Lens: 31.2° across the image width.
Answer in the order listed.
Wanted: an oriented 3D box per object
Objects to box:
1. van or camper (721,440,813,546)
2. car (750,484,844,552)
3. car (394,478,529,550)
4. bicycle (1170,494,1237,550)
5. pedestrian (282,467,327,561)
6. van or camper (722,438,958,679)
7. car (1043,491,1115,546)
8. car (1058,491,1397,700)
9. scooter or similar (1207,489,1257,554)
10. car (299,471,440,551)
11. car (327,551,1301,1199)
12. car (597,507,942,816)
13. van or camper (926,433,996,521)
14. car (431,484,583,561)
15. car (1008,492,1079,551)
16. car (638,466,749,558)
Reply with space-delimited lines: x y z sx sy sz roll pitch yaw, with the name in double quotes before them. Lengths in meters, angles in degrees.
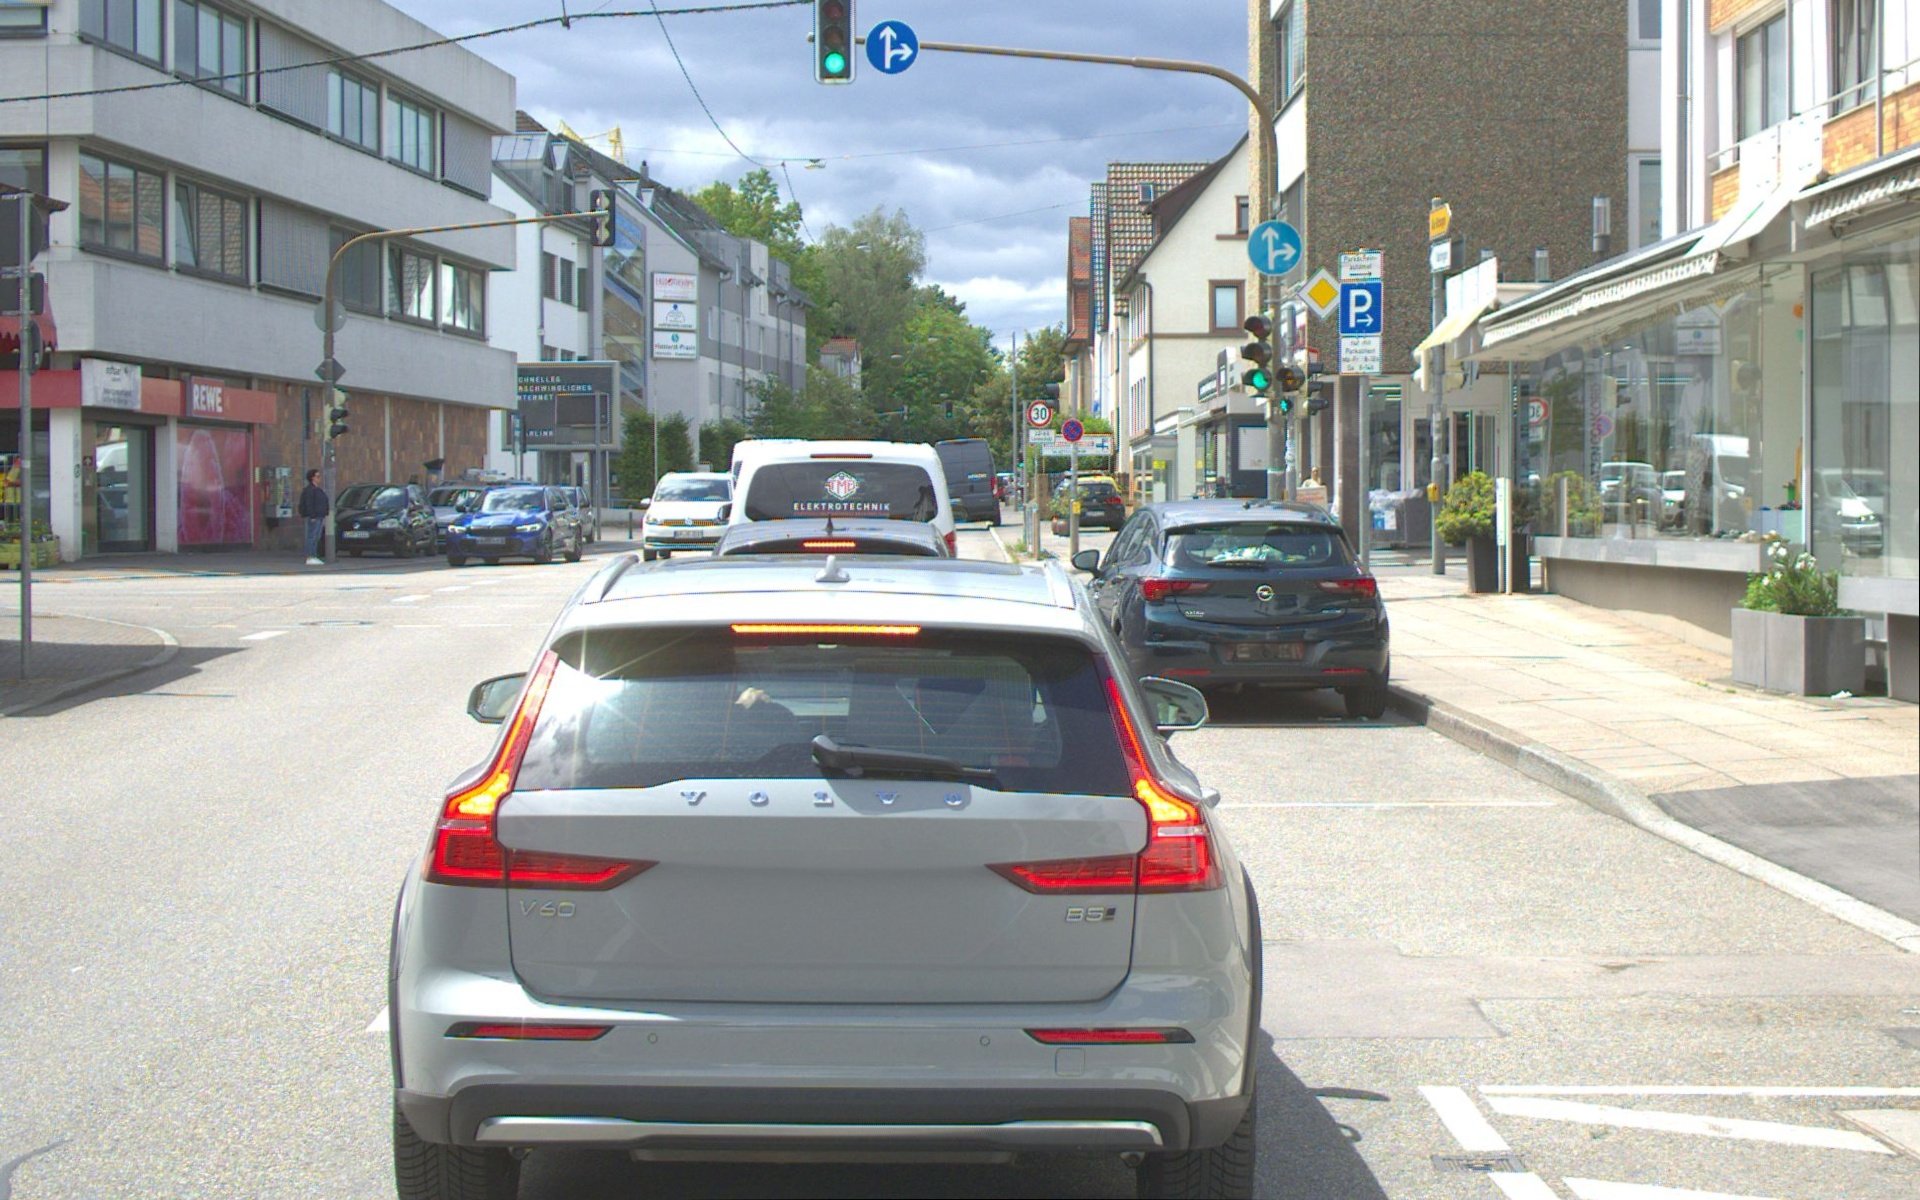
"van or camper" -4.813 -2.725 86.298 2.148 2.547 5.439 -1 3 -2
"car" -3.678 -1.843 78.133 1.791 1.506 3.845 0 1 2
"car" -10.509 -1.846 72.777 1.904 1.438 4.443 1 2 4
"bicycle" 5.036 -1.624 71.188 0.554 1.140 2.301 -2 2 -18
"pedestrian" -11.438 -1.504 59.988 0.619 1.635 0.660 -1 2 1
"van or camper" -0.947 -0.413 28.515 1.819 1.828 4.001 0 3 -1
"car" 3.324 -2.262 96.252 1.710 1.459 4.000 1 0 -2
"car" 1.779 -0.052 24.043 1.807 1.342 3.719 0 1 -4
"scooter or similar" 5.366 -1.543 67.836 0.340 1.249 1.246 -3 2 -26
"car" -11.462 -1.739 66.924 1.785 1.459 4.086 1 2 4
"car" -0.301 0.625 8.488 1.836 1.481 4.000 0 1 -1
"car" -0.938 0.249 18.405 1.650 1.477 3.608 1 2 -1
"van or camper" 0.064 -3.871 108.118 2.123 2.677 4.781 -1 2 1
"car" -8.274 -1.443 63.118 1.994 1.333 4.356 -1 2 3
"car" 1.837 -1.721 75.906 1.438 1.283 3.248 0 1 -1
"car" -4.999 -1.692 64.823 1.775 1.607 4.120 -1 3 -1
